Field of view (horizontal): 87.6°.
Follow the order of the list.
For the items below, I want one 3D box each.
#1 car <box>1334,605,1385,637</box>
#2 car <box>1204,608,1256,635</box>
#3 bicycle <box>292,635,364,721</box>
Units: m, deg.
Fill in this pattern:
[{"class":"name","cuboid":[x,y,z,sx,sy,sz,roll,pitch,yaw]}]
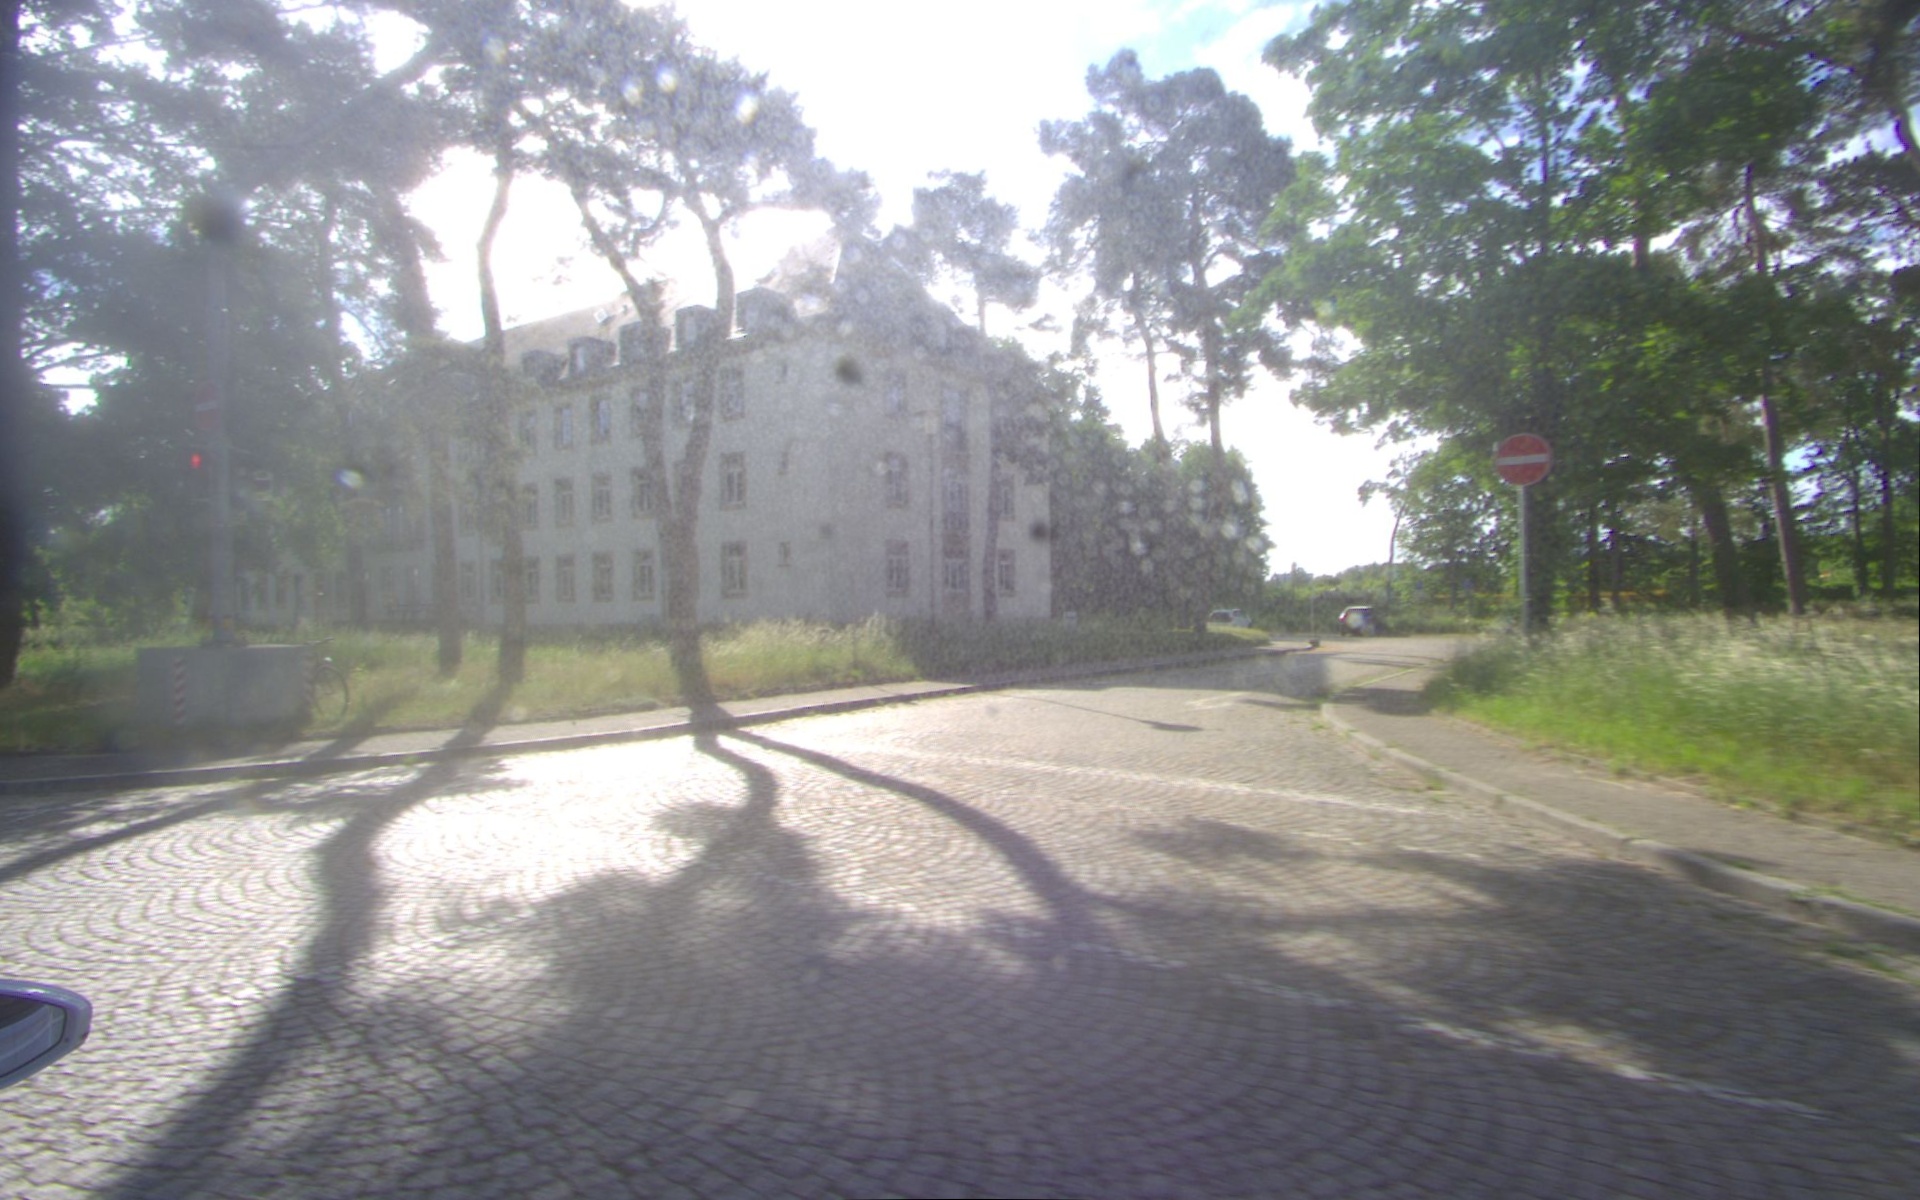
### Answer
[{"class":"car","cuboid":[21.036,1.069,52.685,1.829,1.619,3.979,-1,0,32]},{"class":"car","cuboid":[15.549,1.194,57.563,1.821,1.483,3.979,-1,0,32]},{"class":"bicycle","cuboid":[-8.490,1.020,13.440,1.159,1.094,0.464,-1,0,39]}]
